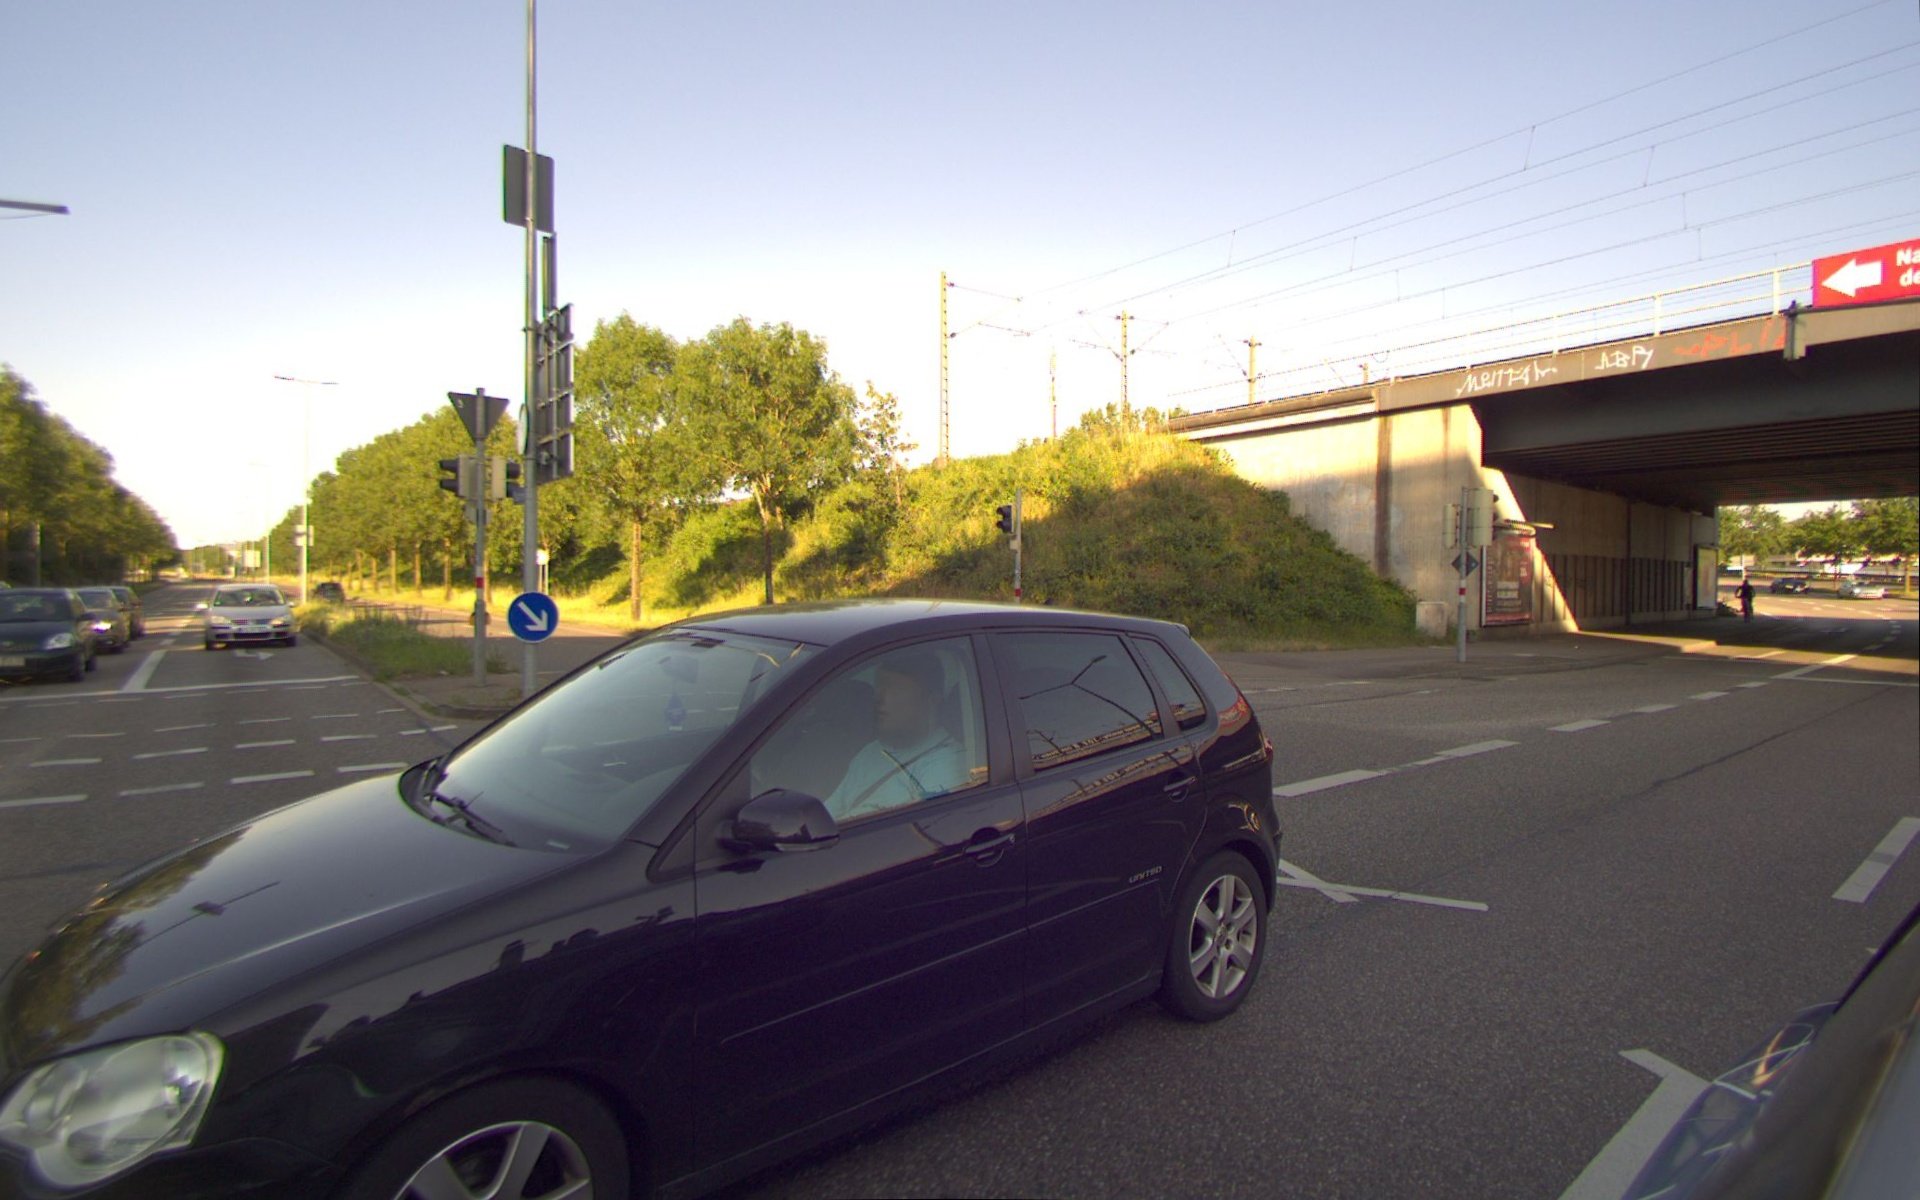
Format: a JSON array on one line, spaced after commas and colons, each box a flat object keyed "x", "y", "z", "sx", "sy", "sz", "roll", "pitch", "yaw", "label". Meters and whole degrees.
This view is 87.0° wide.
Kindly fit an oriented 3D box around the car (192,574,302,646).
[{"x": -17.074, "y": 0.218, "z": 24.161, "sx": 1.857, "sy": 1.549, "sz": 3.995, "roll": -2, "pitch": 1, "yaw": -39, "label": "car"}]

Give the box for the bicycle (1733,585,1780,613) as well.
[{"x": 33.094, "y": -0.054, "z": 42.084, "sx": 0.773, "sy": 1.070, "sz": 2.480, "roll": -1, "pitch": 1, "yaw": 20, "label": "bicycle"}]

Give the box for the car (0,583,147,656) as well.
[{"x": -19.766, "y": 0.394, "z": 22.709, "sx": 2.002, "sy": 1.425, "sz": 4.342, "roll": -2, "pitch": 1, "yaw": -34, "label": "car"}]

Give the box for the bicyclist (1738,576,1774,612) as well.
[{"x": 33.029, "y": -0.256, "z": 42.004, "sx": 0.833, "sy": 1.439, "sz": 1.106, "roll": -1, "pitch": 0, "yaw": 21, "label": "bicyclist"}]

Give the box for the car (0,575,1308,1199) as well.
[{"x": -0.596, "y": 0.675, "z": 3.127, "sx": 3.621, "sy": 1.427, "sz": 1.618, "roll": -2, "pitch": 1, "yaw": -43, "label": "car"}]

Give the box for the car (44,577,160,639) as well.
[{"x": -23.943, "y": 0.202, "z": 28.411, "sx": 2.002, "sy": 1.587, "sz": 4.342, "roll": -2, "pitch": 1, "yaw": -34, "label": "car"}]

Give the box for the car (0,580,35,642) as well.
[{"x": -26.827, "y": 0.322, "z": 27.403, "sx": 2.002, "sy": 1.587, "sz": 4.342, "roll": -2, "pitch": 1, "yaw": -34, "label": "car"}]

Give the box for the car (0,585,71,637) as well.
[{"x": -30.973, "y": 0.364, "z": 33.307, "sx": 2.002, "sy": 1.587, "sz": 4.342, "roll": -2, "pitch": 1, "yaw": -34, "label": "car"}]

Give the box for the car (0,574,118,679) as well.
[{"x": -15.424, "y": 0.413, "z": 16.684, "sx": 1.962, "sy": 1.549, "sz": 4.000, "roll": -2, "pitch": 1, "yaw": -34, "label": "car"}]

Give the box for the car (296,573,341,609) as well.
[{"x": -40.746, "y": -0.539, "z": 64.271, "sx": 1.964, "sy": 2.206, "sz": 3.996, "roll": -2, "pitch": 0, "yaw": -38, "label": "car"}]
